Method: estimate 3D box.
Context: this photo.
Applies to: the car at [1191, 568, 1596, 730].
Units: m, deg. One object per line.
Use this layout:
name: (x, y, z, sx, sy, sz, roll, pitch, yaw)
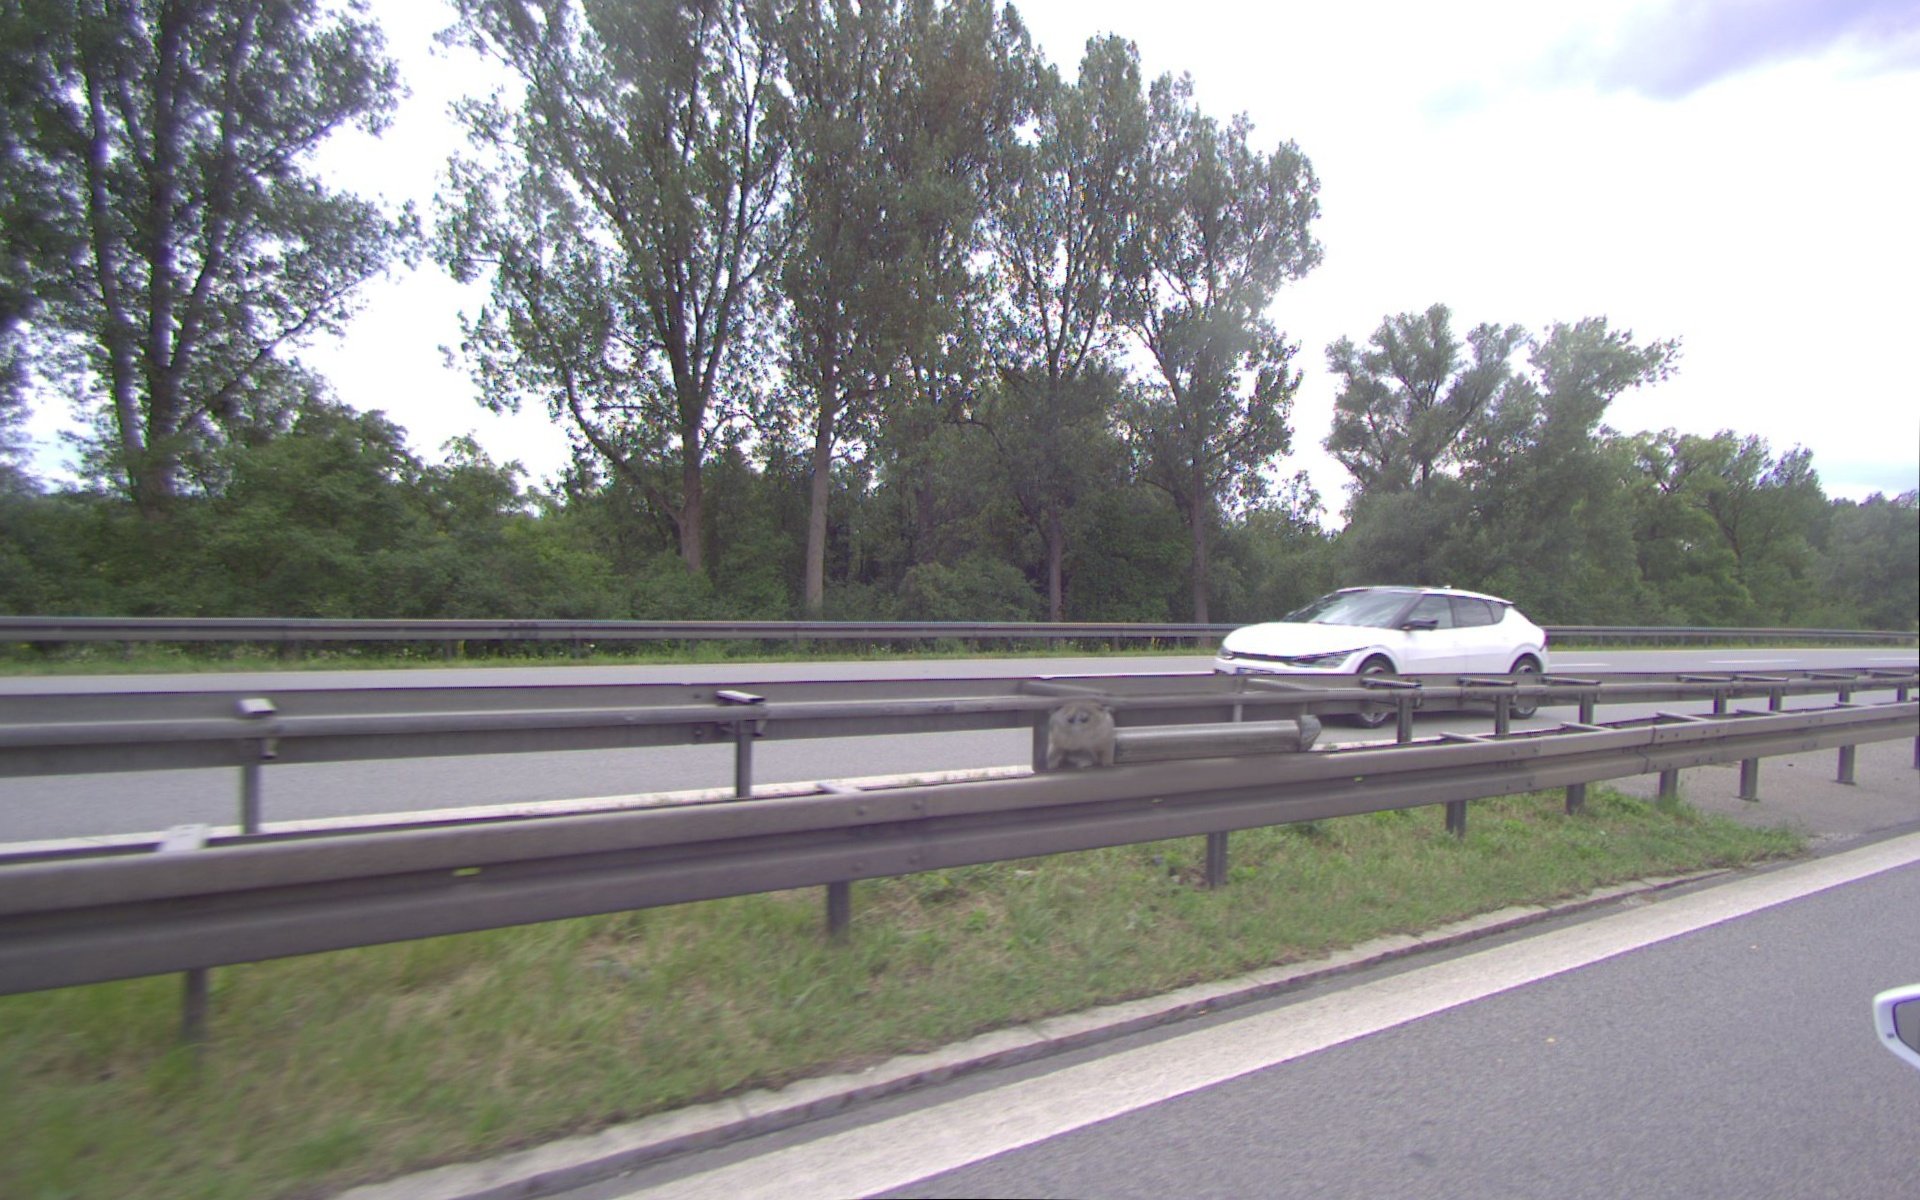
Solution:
car: (5.372, 0.530, 12.265, 4.969, 1.637, 1.984, 1, 1, -31)
